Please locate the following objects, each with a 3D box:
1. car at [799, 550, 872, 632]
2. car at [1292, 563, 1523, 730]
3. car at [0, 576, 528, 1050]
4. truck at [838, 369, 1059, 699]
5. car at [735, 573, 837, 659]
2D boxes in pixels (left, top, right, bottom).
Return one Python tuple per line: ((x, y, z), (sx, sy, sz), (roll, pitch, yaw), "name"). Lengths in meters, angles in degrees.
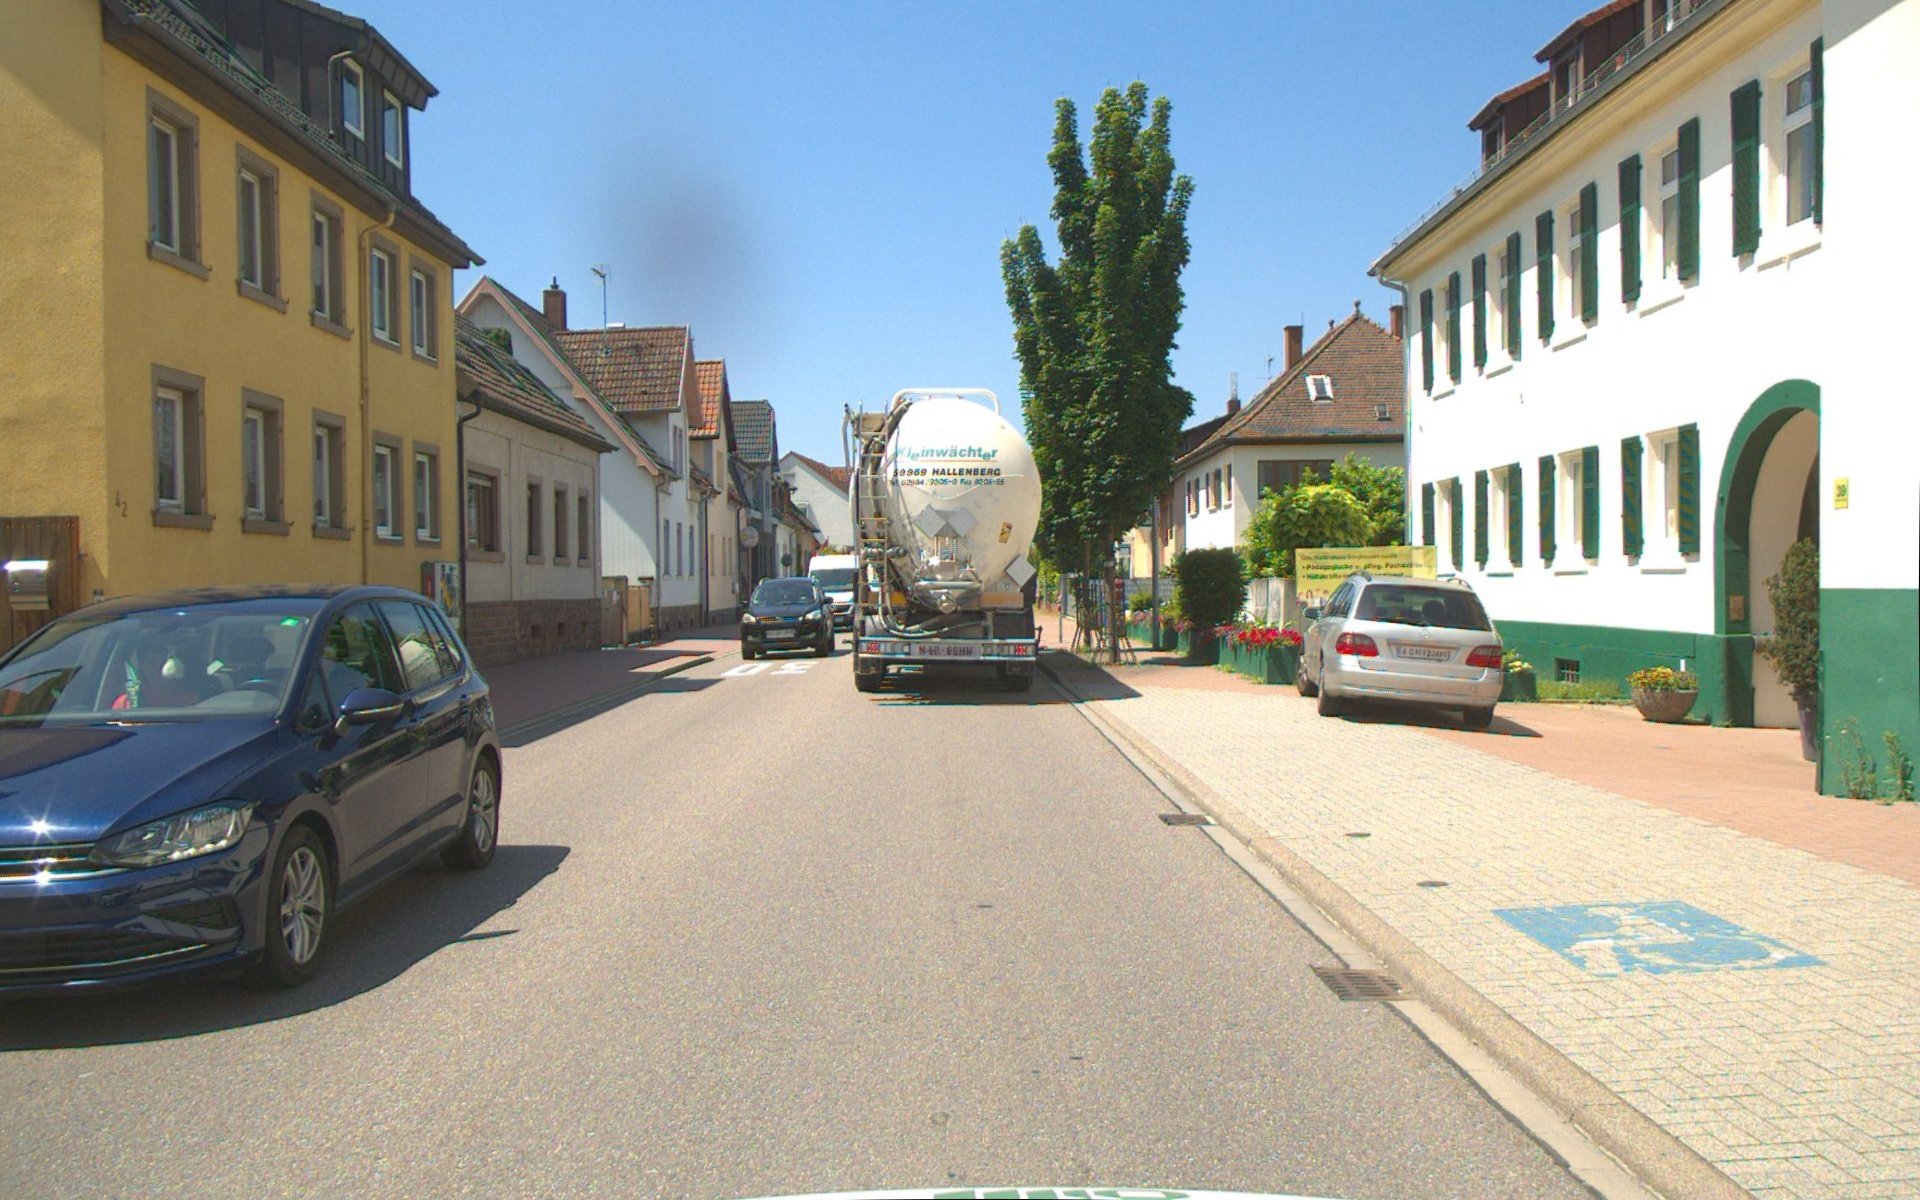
((-4.026, -0.312, 54.424), (2.027, 2.498, 6.006), (-2, 1, -1), "car")
((4.820, 0.415, 18.489), (1.777, 1.488, 4.889), (4, 1, 8), "car")
((-3.365, 0.714, 7.589), (1.729, 1.563, 4.077), (-2, 0, -1), "car")
((-0.259, -0.803, 24.388), (2.677, 4.029, 8.138), (1, 0, -2), "truck")
((-3.729, 0.302, 36.075), (1.802, 1.699, 4.322), (-2, 1, -1), "car")
